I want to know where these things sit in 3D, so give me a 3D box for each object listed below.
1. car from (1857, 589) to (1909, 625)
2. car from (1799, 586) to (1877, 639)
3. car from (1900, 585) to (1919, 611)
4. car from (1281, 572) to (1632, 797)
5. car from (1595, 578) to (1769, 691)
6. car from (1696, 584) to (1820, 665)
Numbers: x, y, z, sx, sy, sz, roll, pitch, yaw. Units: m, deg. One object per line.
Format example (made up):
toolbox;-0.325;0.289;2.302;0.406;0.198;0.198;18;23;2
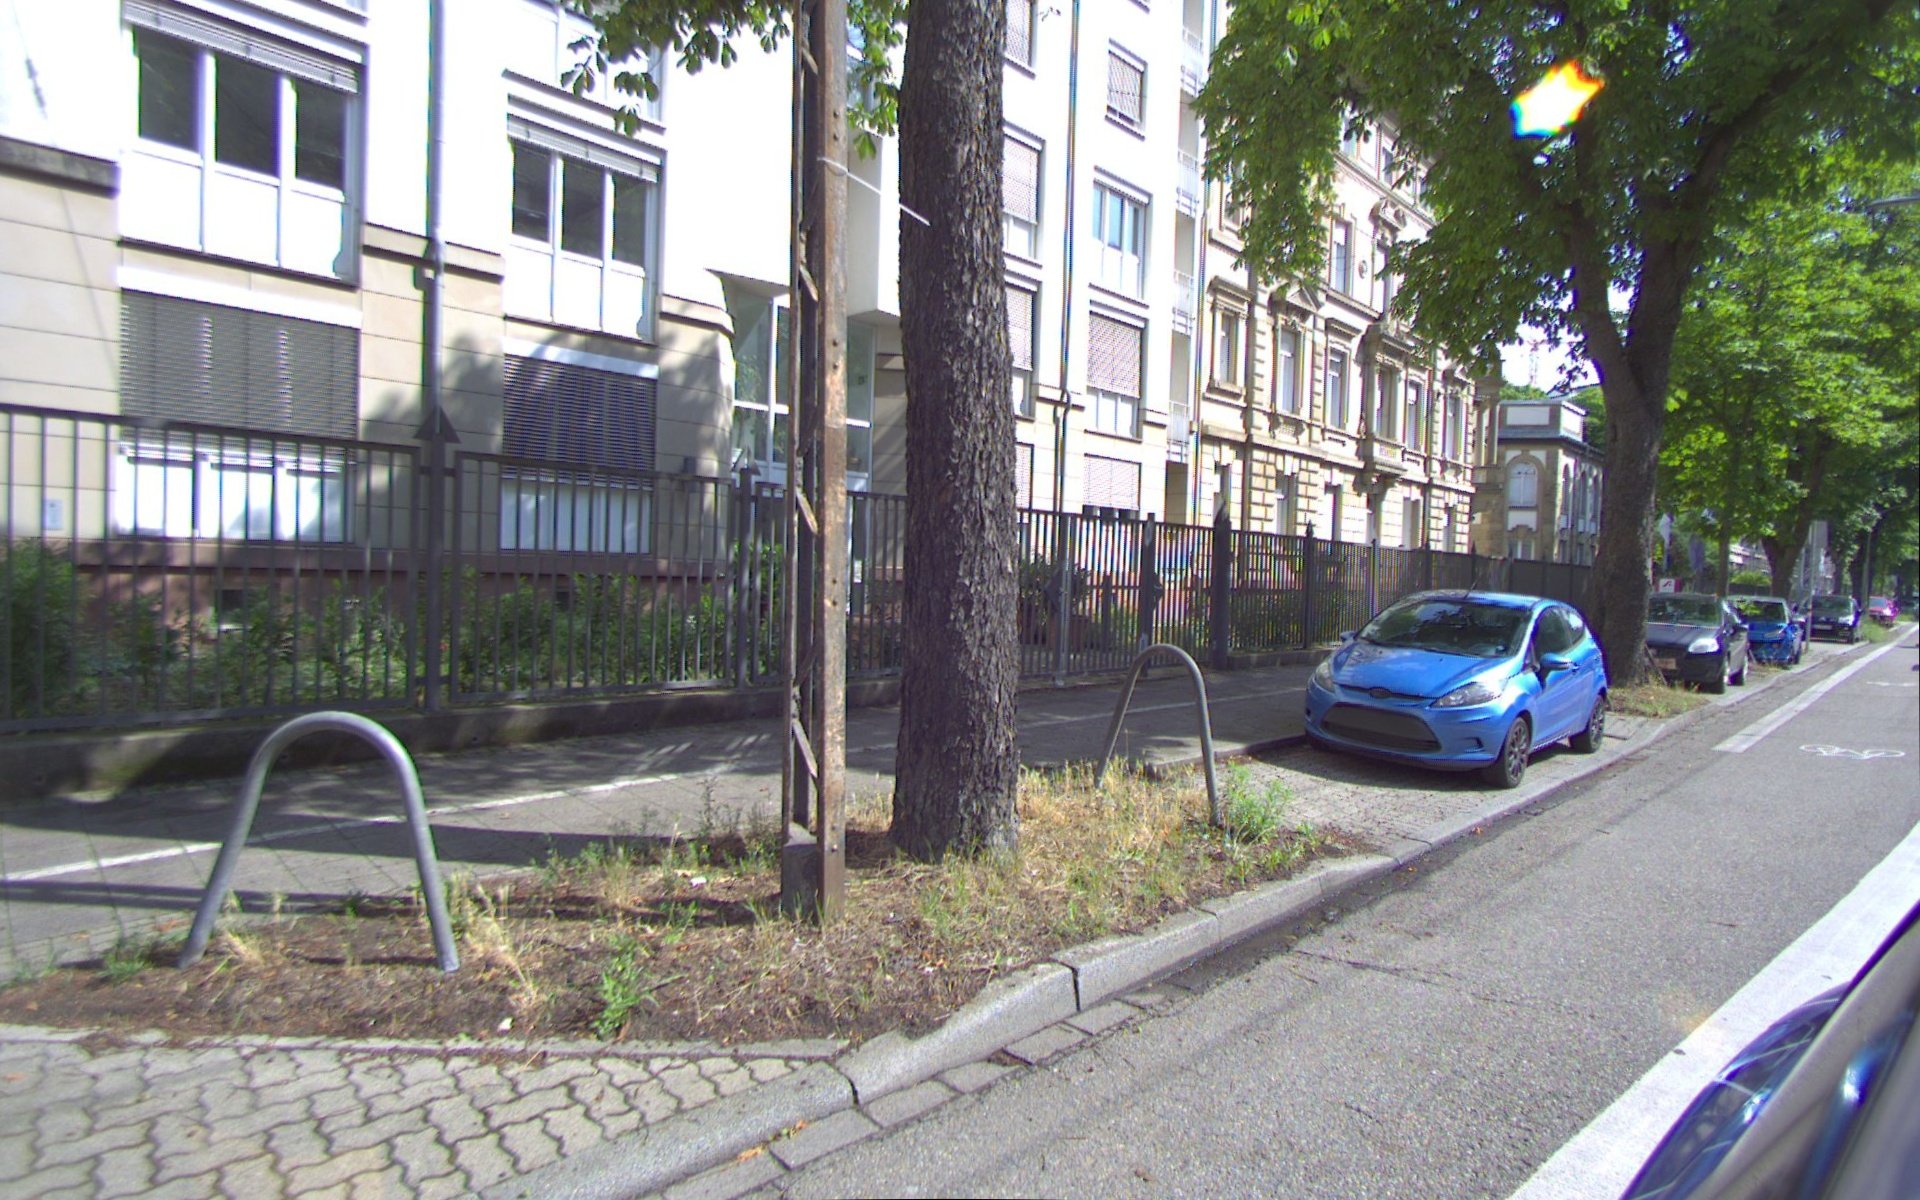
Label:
car;46.496;0.333;50.950;1.741;1.592;3.868;7;5;44
car;30.360;0.397;34.954;1.741;1.592;3.603;7;5;44
car;64.050;-0.117;67.560;1.741;1.592;3.868;7;5;44
car;4.562;0.585;9.066;3.601;1.493;1.644;0;5;-45
car;11.684;0.476;16.303;1.676;1.493;3.603;7;5;44
car;17.405;0.473;22.027;1.676;1.493;3.603;7;5;44
